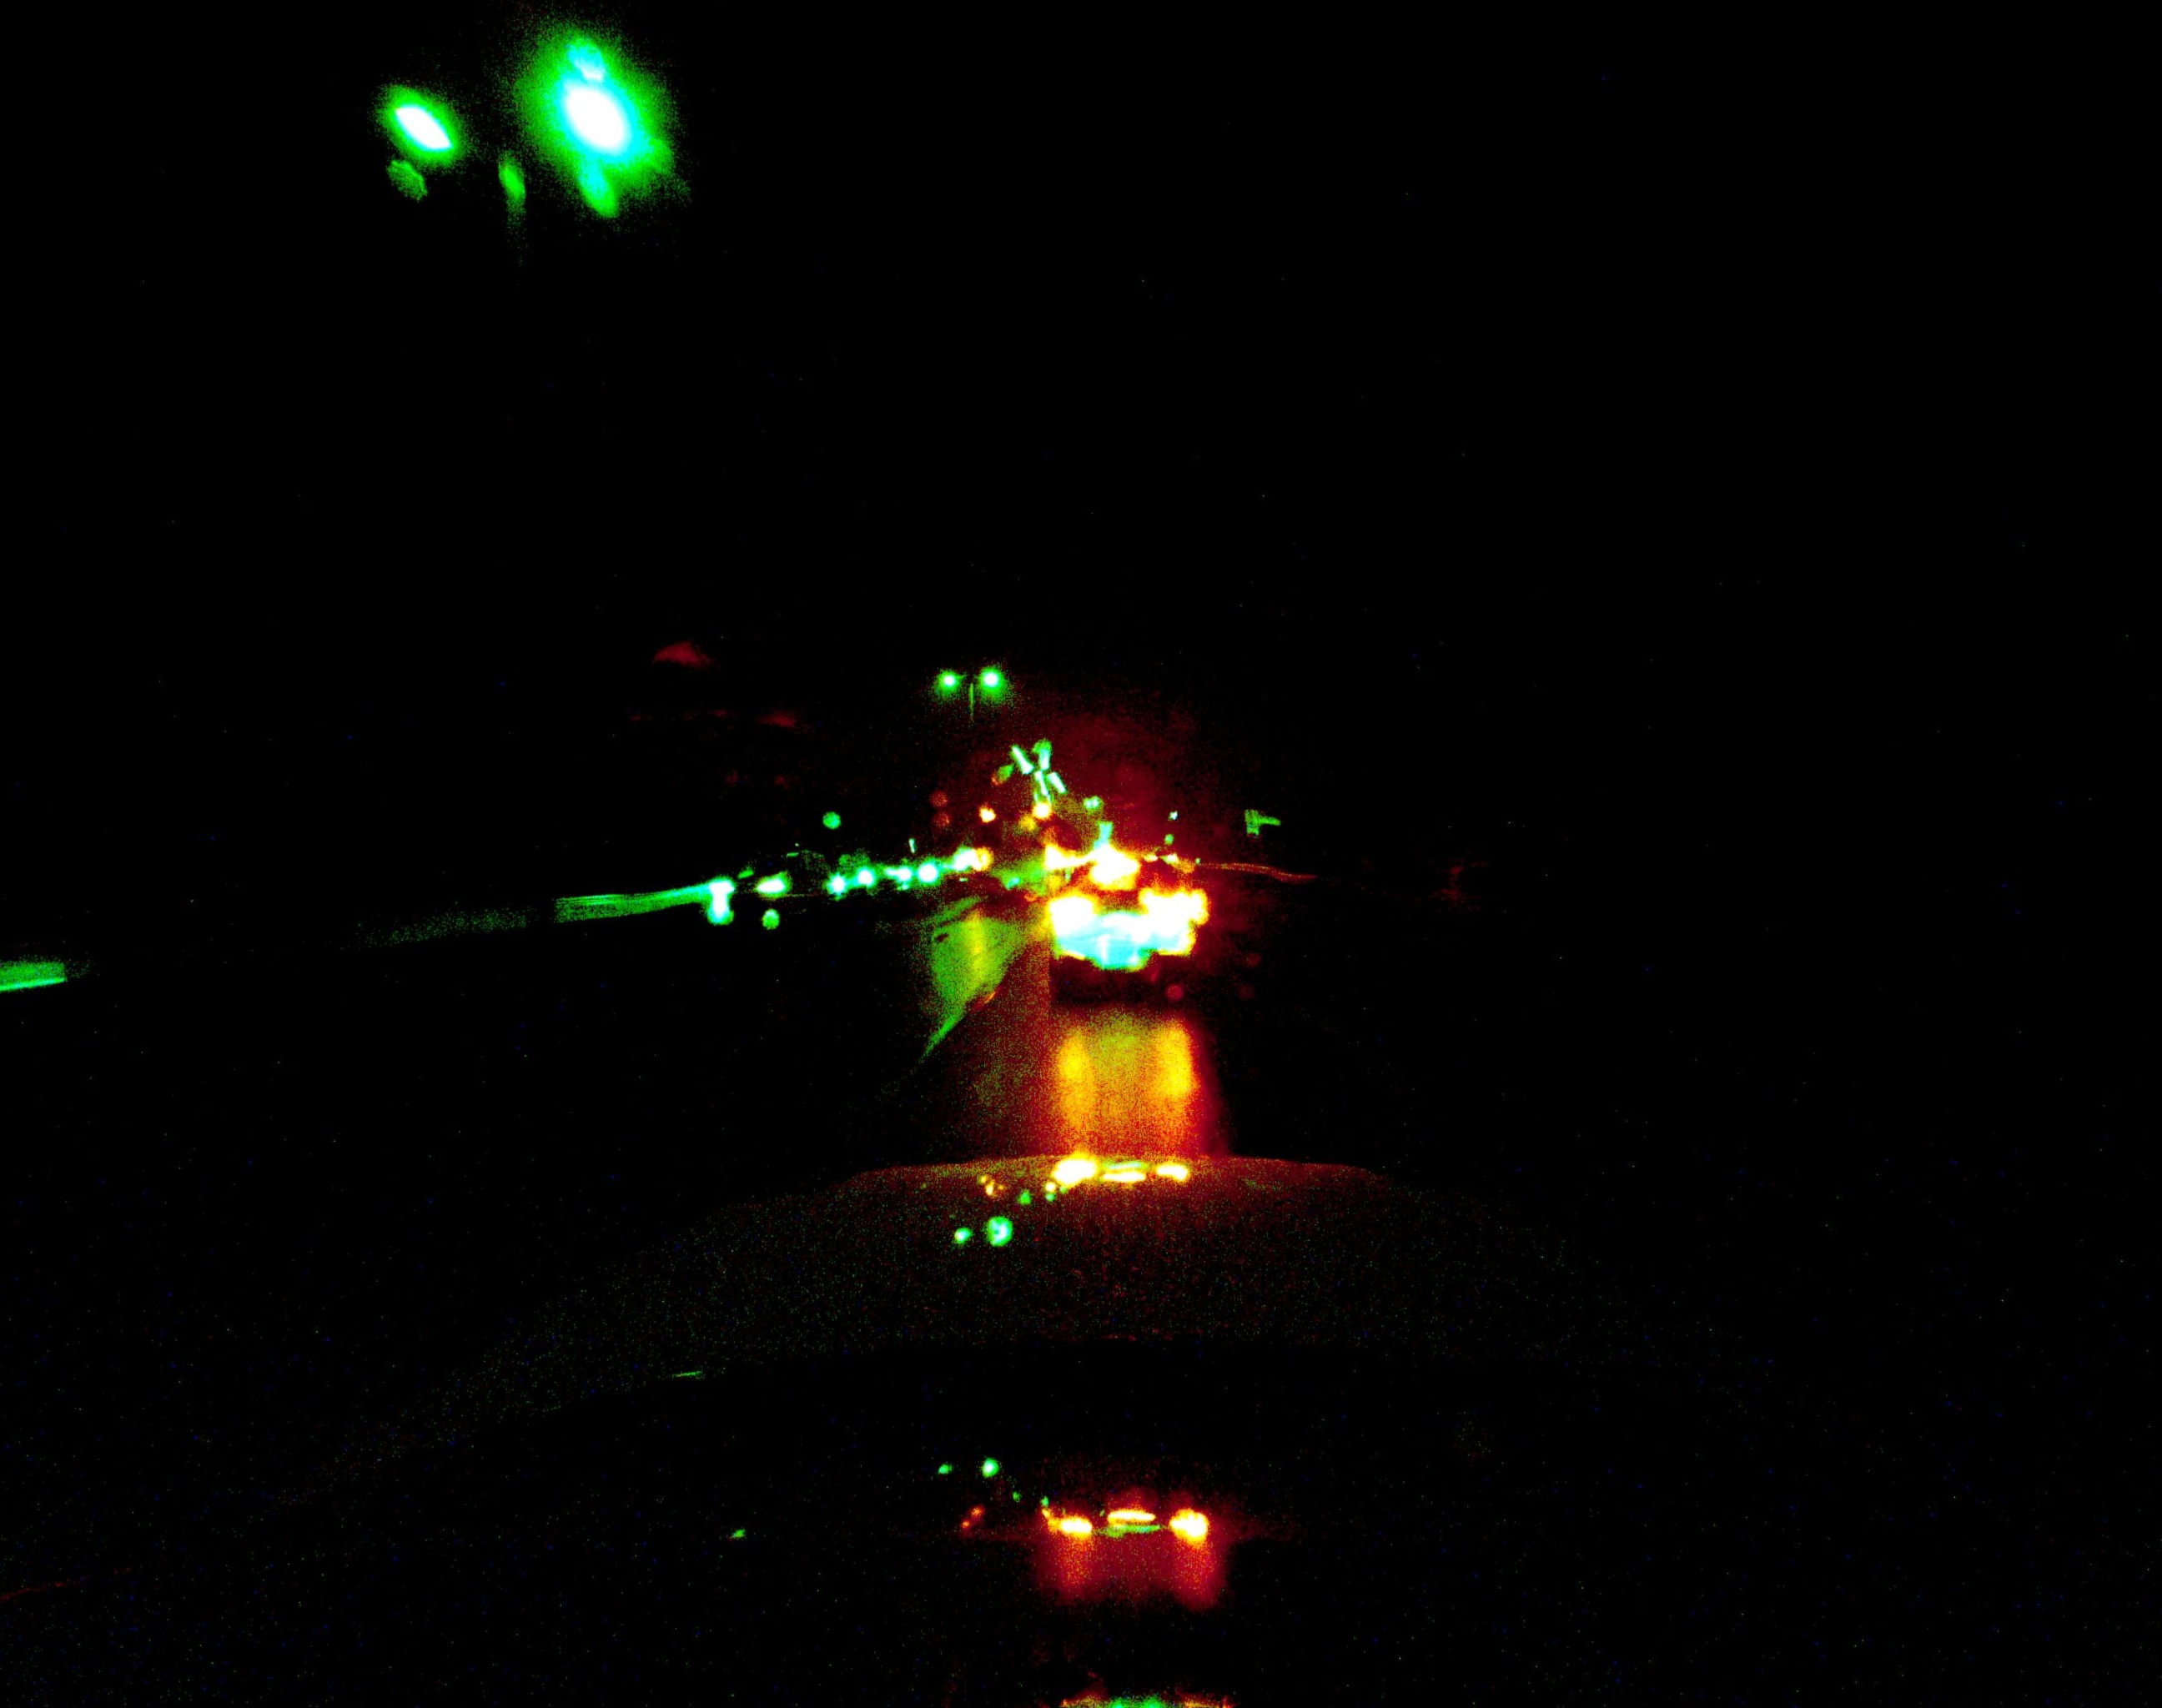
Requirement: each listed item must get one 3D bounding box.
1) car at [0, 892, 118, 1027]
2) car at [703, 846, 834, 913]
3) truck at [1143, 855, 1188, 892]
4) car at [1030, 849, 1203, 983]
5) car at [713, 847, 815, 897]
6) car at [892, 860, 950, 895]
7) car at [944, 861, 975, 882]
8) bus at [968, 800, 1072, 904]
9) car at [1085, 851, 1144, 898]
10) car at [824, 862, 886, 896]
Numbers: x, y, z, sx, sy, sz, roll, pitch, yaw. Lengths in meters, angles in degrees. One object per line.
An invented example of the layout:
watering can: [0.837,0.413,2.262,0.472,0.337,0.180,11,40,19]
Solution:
car: [-13.493,1.200,8.031,2.016,1.502,4.898,1,-1,2]
car: [-9.161,0.738,24.360,1.987,1.774,4.705,1,-1,1]
truck: [6.291,1.455,60.173,3.053,2.528,7.179,1,-1,7]
car: [0.537,0.715,11.038,1.935,1.491,3.720,0,0,4]
car: [-12.084,0.692,31.394,1.987,1.774,4.705,1,-1,1]
car: [-8.578,1.244,44.104,2.157,1.774,4.705,1,-1,1]
car: [-10.945,1.599,73.660,1.985,1.809,4.202,1,-1,3]
bus: [-1.927,-0.084,29.510,2.733,3.123,9.205,1,0,2]
car: [1.138,0.647,27.087,1.814,1.461,3.718,0,0,2]
car: [-12.372,1.346,44.927,1.987,1.774,4.705,1,-1,1]
